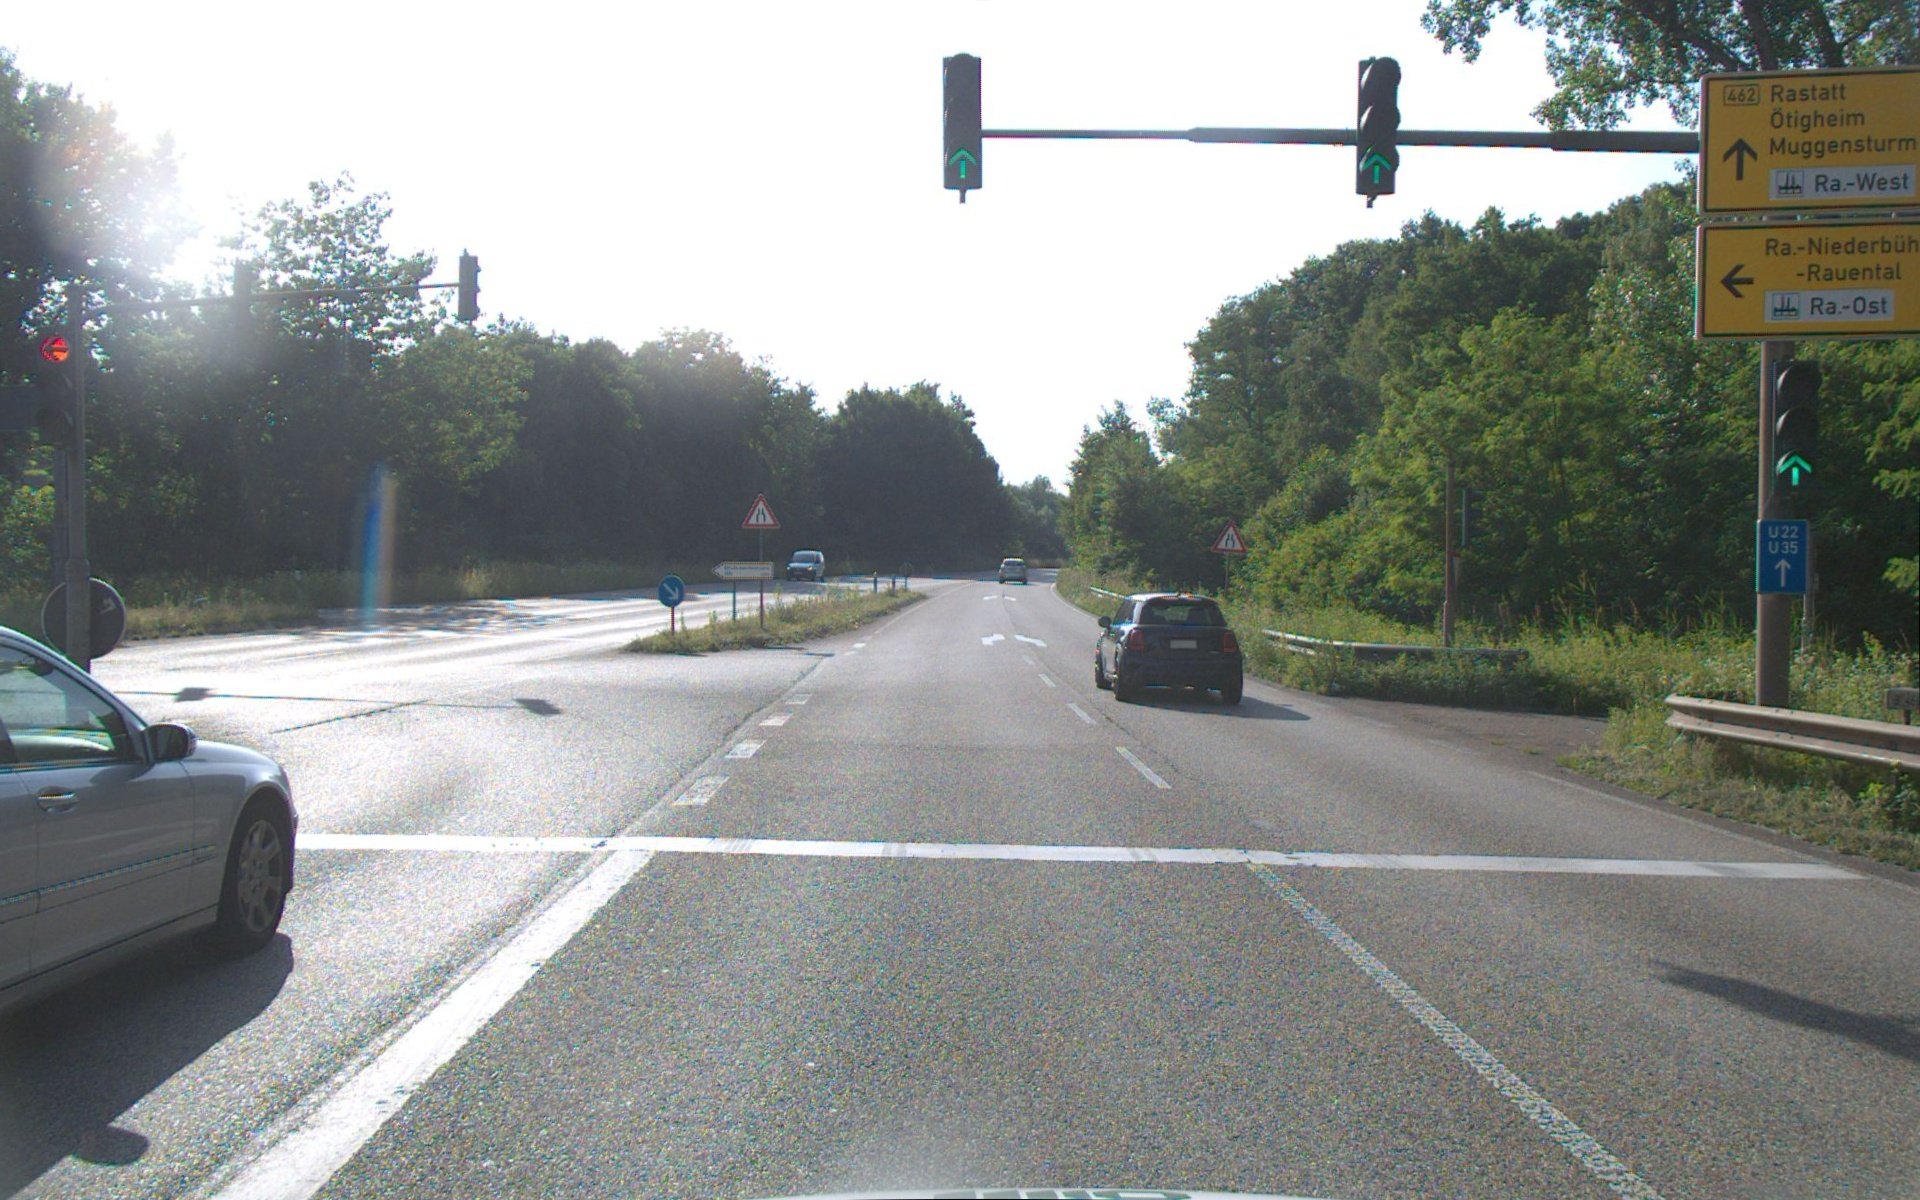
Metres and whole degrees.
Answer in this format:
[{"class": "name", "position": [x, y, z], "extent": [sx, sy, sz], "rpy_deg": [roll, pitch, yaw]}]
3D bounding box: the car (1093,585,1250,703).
[{"class": "car", "position": [2.943, 0.571, 23.716], "extent": [1.782, 1.493, 3.873], "rpy_deg": [2, 0, 1]}]

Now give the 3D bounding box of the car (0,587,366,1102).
[{"class": "car", "position": [-3.555, 0.692, 5.101], "extent": [1.699, 1.446, 4.802], "rpy_deg": [-1, 0, 0]}]

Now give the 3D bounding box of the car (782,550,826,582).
[{"class": "car", "position": [-9.537, -2.041, 101.391], "extent": [1.811, 1.817, 4.673], "rpy_deg": [2, 0, 6]}]

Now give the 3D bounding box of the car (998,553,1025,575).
[{"class": "car", "position": [3.536, -2.449, 112.501], "extent": [1.724, 1.404, 3.973], "rpy_deg": [2, 0, 3]}]
